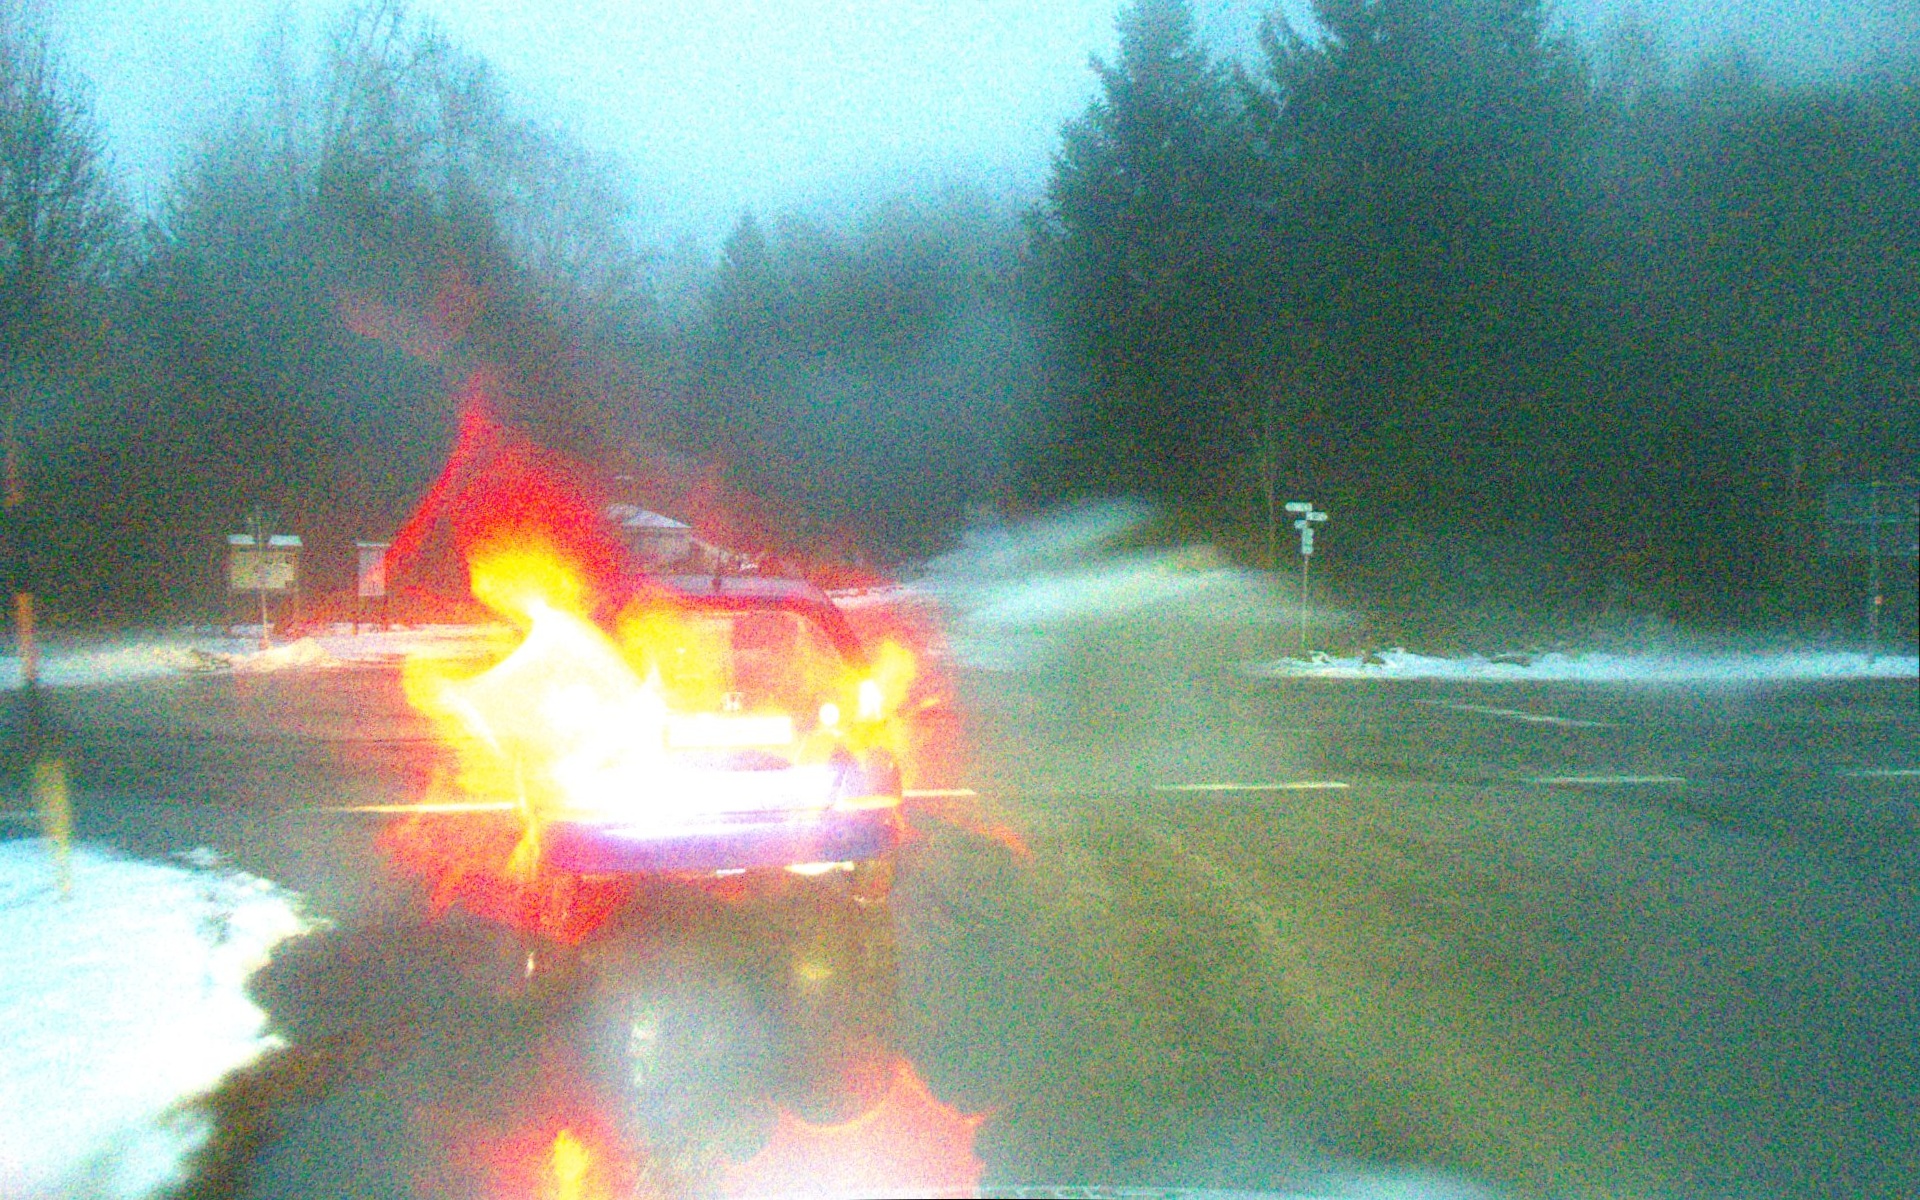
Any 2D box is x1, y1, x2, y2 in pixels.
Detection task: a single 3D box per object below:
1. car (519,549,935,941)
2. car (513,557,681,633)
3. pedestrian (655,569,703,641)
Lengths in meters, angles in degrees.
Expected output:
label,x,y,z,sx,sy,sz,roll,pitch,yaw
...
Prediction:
label,x,y,z,sx,sy,sz,roll,pitch,yaw
car,-1.437,0.571,8.747,1.665,1.579,3.839,1,0,-16
car,-9.599,-0.127,43.934,3.863,1.914,2.001,1,-1,7
pedestrian,-7.361,0.133,43.308,0.940,1.860,0.926,1,-1,12
